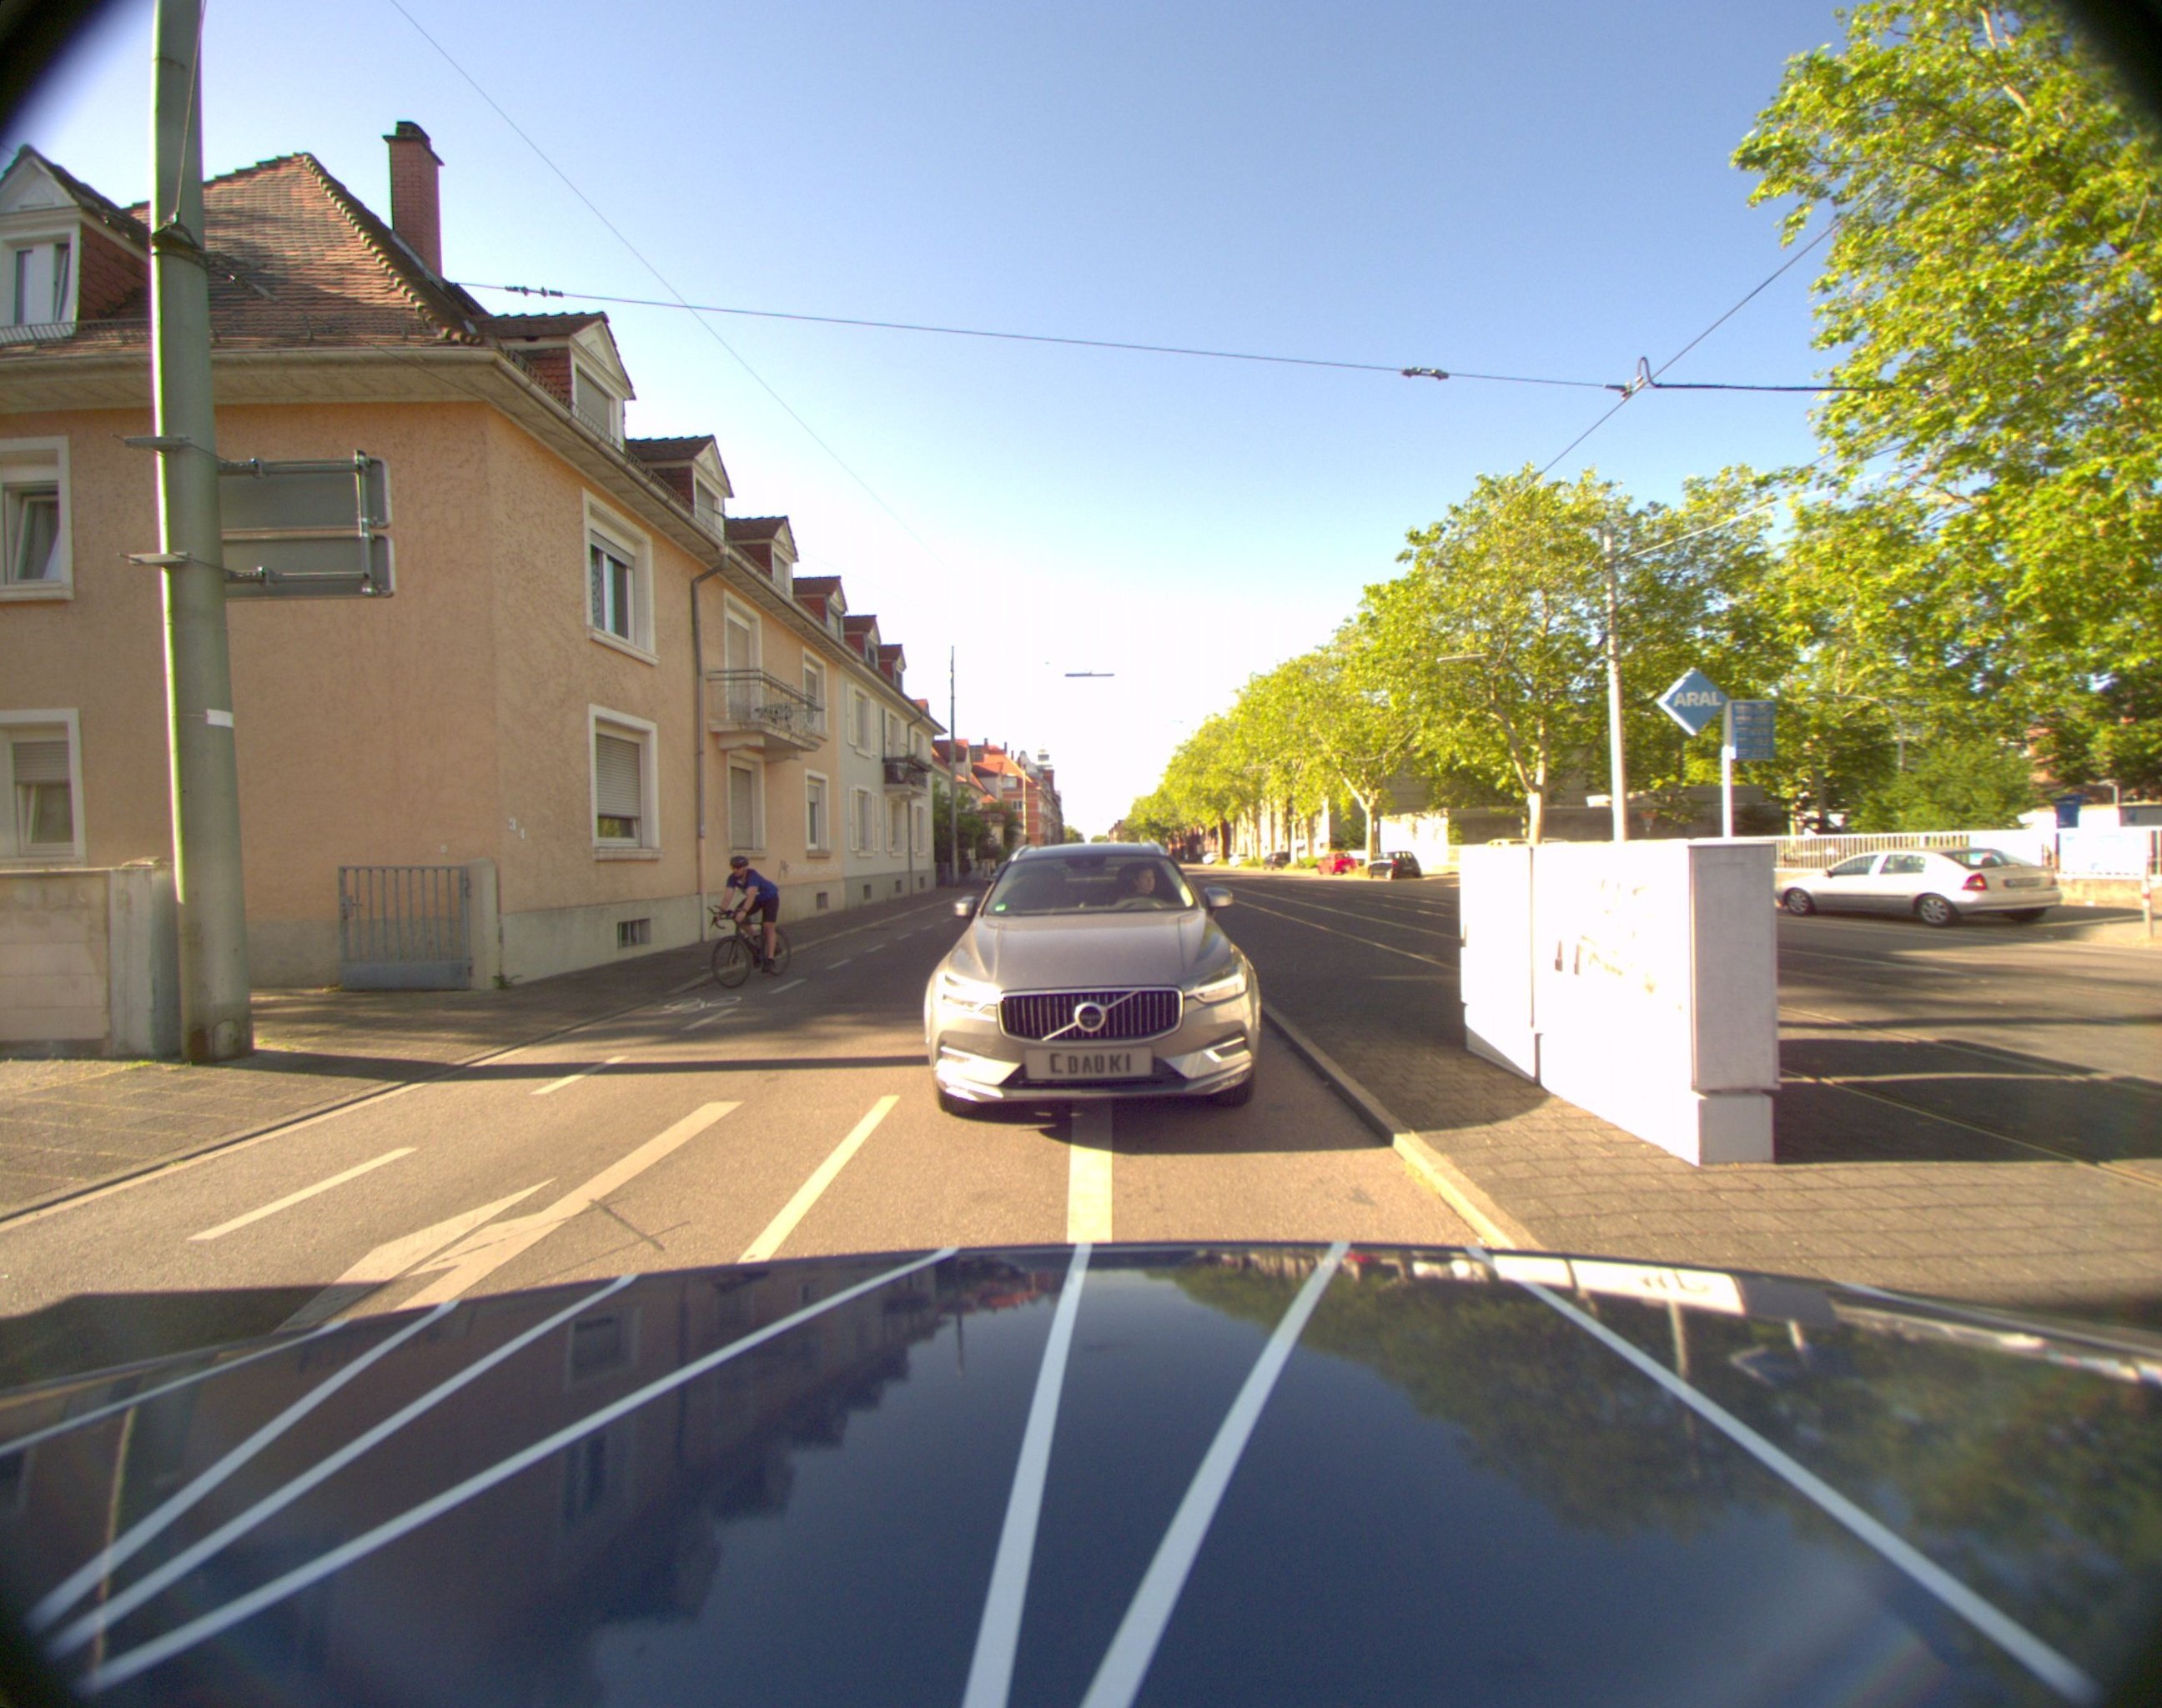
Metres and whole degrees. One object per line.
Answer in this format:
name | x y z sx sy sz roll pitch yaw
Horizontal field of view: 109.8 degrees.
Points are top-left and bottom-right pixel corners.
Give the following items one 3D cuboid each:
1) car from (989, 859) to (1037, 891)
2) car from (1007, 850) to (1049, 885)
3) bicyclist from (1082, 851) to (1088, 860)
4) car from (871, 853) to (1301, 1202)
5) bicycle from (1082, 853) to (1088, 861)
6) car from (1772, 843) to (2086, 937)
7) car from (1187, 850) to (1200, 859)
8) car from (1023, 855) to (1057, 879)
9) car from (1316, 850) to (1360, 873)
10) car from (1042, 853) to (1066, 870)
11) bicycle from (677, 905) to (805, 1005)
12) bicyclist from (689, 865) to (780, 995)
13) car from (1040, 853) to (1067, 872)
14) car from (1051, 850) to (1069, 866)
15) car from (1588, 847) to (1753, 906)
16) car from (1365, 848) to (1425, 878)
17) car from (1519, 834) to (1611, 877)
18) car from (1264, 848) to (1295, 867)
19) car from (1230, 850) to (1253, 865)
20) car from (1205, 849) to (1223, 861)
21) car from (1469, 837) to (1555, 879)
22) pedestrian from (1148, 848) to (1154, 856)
car | -3.236 0.968 37.080 1.867 1.399 4.424 -1 0 1
car | -2.913 0.706 42.834 1.867 1.778 5.297 -1 0 1
bicyclist | 0.657 0.235 126.949 1.054 1.496 1.250 -1 1 1
car | 0.056 0.819 5.935 1.998 1.609 4.697 -1 0 1
bicycle | 0.661 0.491 126.916 1.054 1.262 3.914 -1 0 1
car | 16.238 0.612 14.911 1.847 1.477 3.858 -4 0 2
car | 18.509 0.067 125.297 1.758 1.475 3.858 -3 0 3
car | -2.578 0.819 48.502 1.867 1.399 4.078 -1 0 1
car | 16.904 0.457 50.188 1.717 1.421 3.858 -3 0 3
car | -2.353 0.626 66.365 1.867 1.399 4.078 -1 0 1
bicycle | -4.502 1.300 10.213 0.550 1.056 1.796 -5 0 11
bicyclist | -4.554 0.959 10.042 0.561 1.607 1.017 -1 1 11
car | -2.132 0.672 60.061 1.867 1.399 4.078 -1 0 1
car | -2.324 0.438 85.454 1.867 1.653 4.078 -1 0 1
car | 16.478 0.573 21.518 1.745 1.389 3.858 -4 0 3
car | 16.892 0.464 41.046 1.758 1.449 3.858 -3 0 3
car | 24.160 0.085 38.104 1.999 2.002 3.999 -1 0 -1
car | 17.173 0.300 65.919 1.758 1.536 3.858 -3 0 3
car | 17.579 0.363 83.347 1.758 1.475 3.858 -3 0 3
car | 17.673 0.172 100.941 1.758 1.475 3.858 -3 0 3
car | 21.811 0.174 38.645 1.999 2.002 3.999 -1 0 -1
pedestrian | 19.596 -0.532 213.141 1.686 2.002 1.761 -1 1 1
